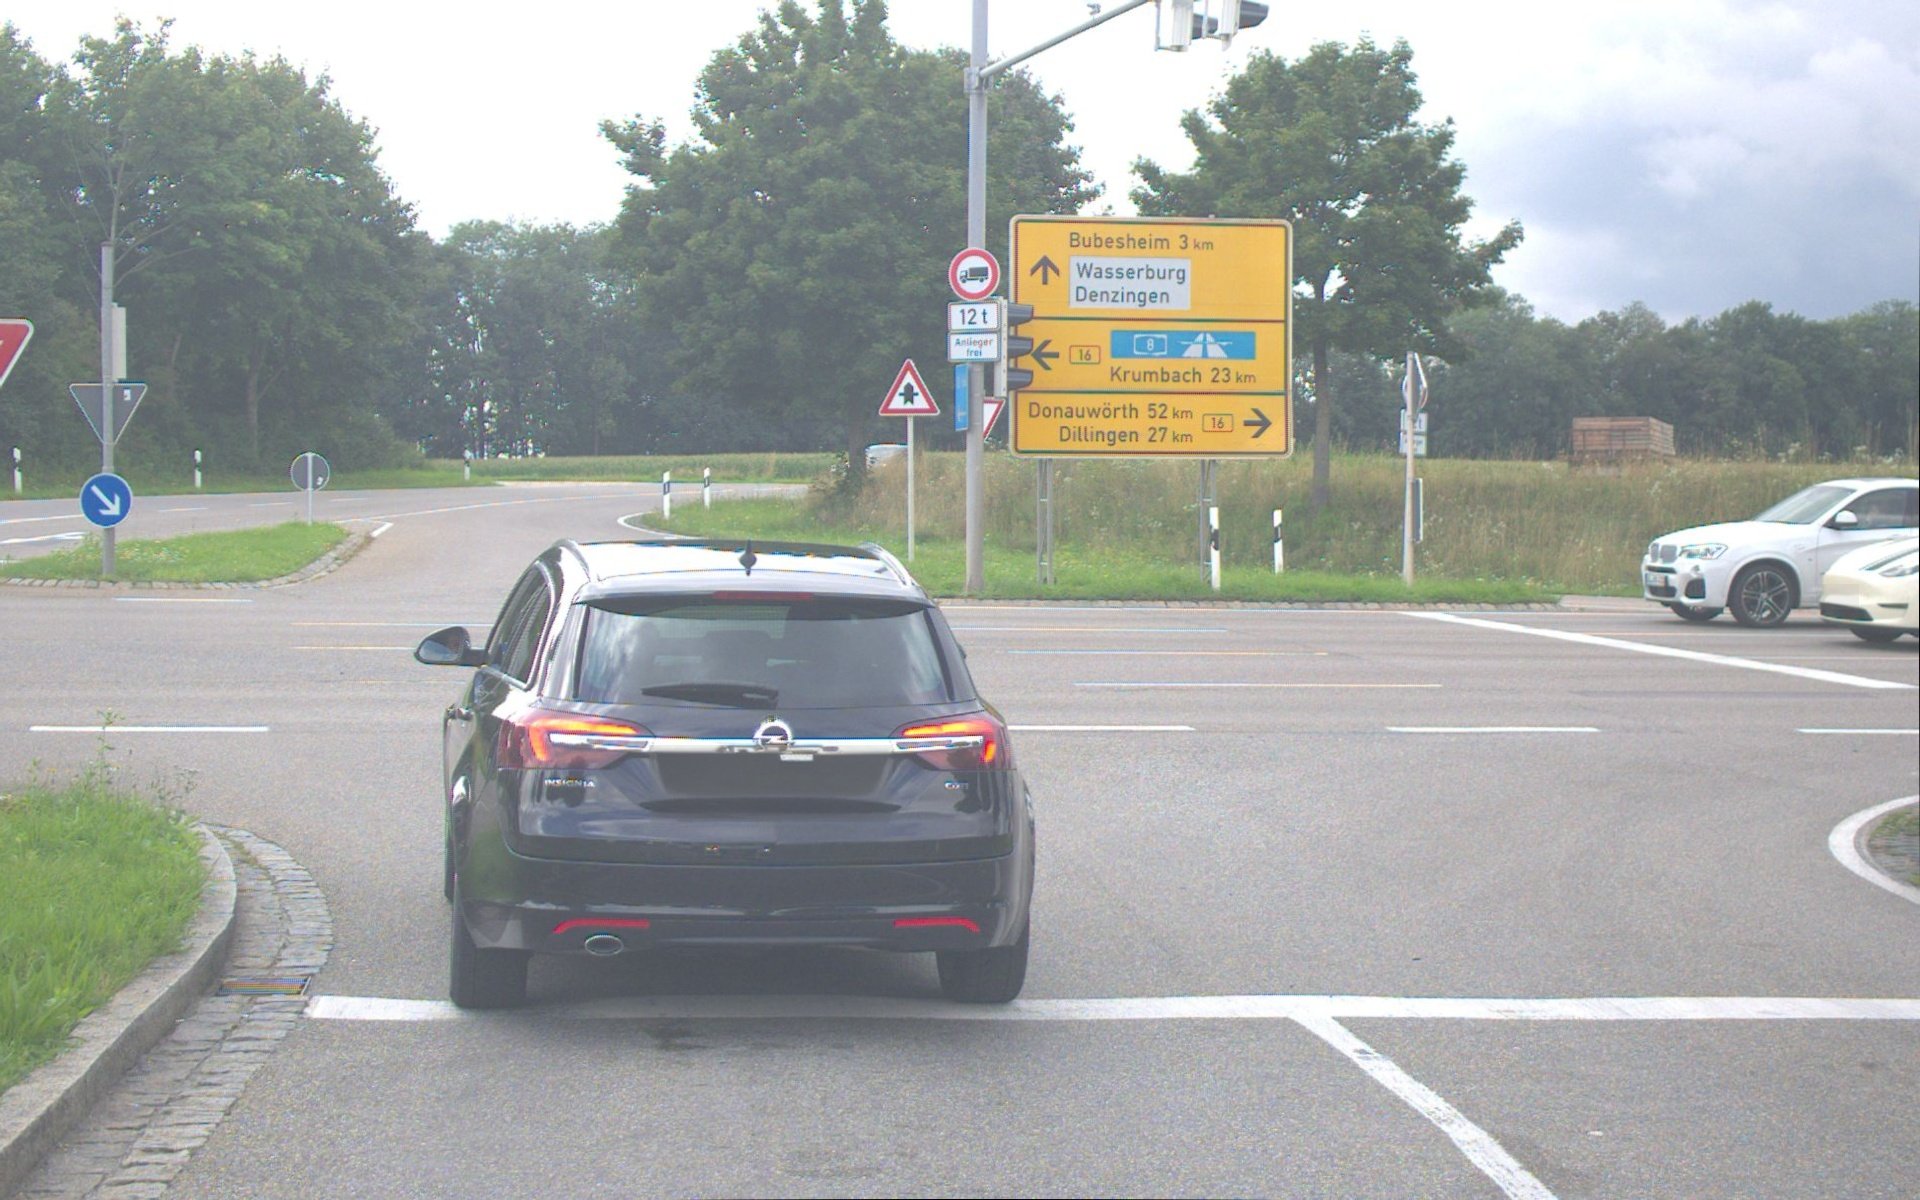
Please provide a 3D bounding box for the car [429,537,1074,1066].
[{"bbox_3d":[-0.884,0.535,11.833,1.807,1.446,4.274,1,1,-8],"label":"car"}]

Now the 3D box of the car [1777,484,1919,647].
[{"bbox_3d":[10.817,-0.338,34.375,4.731,1.559,2.001,1,1,-12],"label":"car"}]

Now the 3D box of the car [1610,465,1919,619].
[{"bbox_3d":[9.612,-0.638,38.123,4.259,1.623,2.001,1,1,-13],"label":"car"}]
